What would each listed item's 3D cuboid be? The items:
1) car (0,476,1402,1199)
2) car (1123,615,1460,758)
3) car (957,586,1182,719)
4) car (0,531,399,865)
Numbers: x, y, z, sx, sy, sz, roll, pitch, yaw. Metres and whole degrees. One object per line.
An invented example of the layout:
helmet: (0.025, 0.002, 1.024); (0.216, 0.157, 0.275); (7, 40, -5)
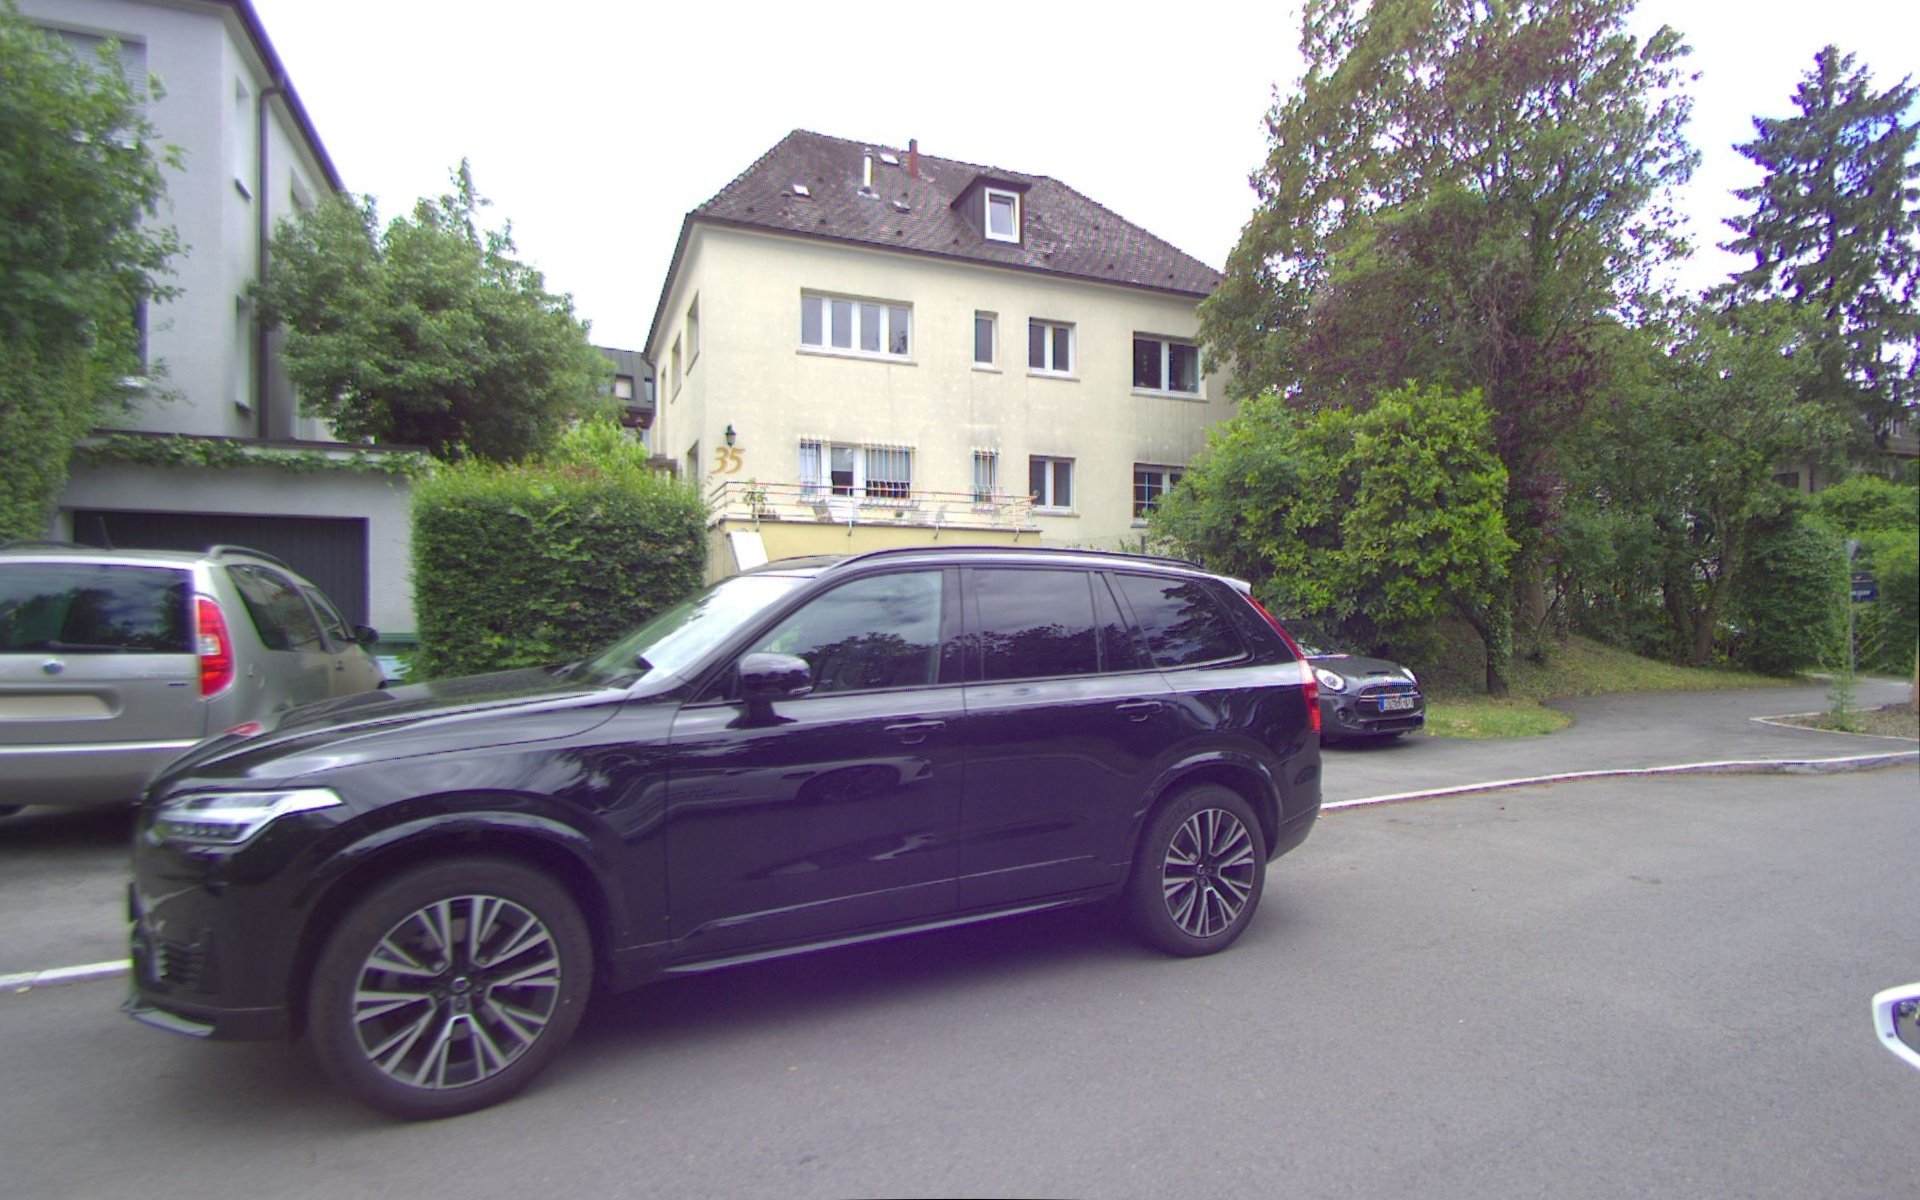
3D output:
car: (-0.601, 0.621, 4.431); (5.126, 1.760, 1.966); (1, 0, -29)
car: (3.847, 0.905, 12.298); (1.755, 1.403, 3.808); (0, 0, -27)
car: (1.584, 0.836, 15.795); (1.982, 1.817, 3.538); (1, -4, -25)
car: (-5.235, 0.477, 6.755); (1.799, 1.659, 3.690); (1, 0, -17)
